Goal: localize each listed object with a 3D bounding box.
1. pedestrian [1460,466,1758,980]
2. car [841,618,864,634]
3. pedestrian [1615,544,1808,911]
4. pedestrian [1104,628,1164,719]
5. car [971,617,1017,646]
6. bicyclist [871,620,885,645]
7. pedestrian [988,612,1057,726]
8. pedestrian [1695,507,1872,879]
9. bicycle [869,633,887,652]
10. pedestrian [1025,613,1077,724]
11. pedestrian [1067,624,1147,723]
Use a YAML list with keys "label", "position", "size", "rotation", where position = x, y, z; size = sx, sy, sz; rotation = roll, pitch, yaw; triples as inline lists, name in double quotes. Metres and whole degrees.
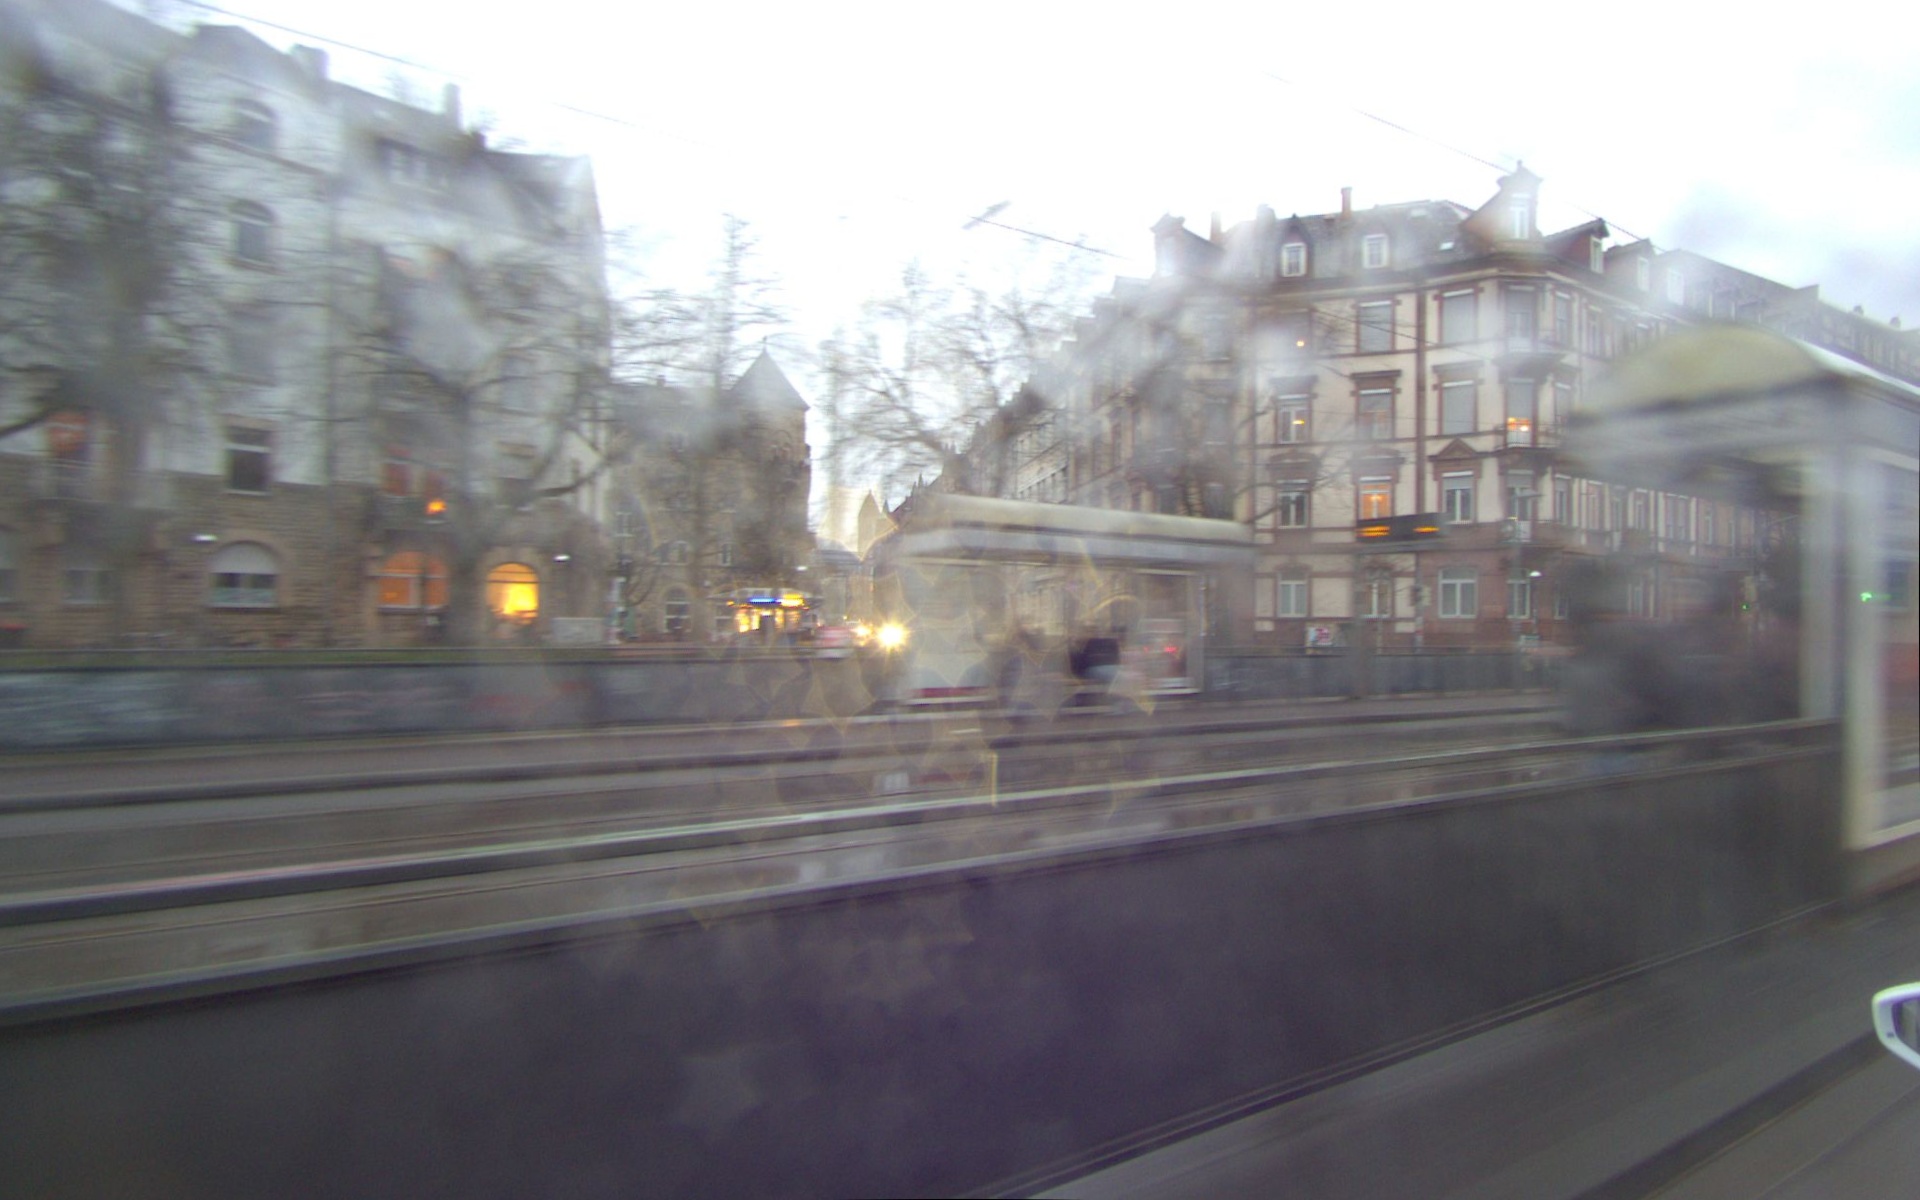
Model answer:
- label: "pedestrian"
  position: [2.786, 0.469, 4.369]
  size: [0.564, 1.982, 0.849]
  rotation: [1, 2, -31]
- label: "car"
  position: [-11.611, 2.800, 108.271]
  size: [1.965, 1.728, 3.991]
  rotation: [1, -2, -12]
- label: "pedestrian"
  position: [3.876, 0.610, 5.193]
  size: [0.564, 1.764, 0.554]
  rotation: [1, 2, -31]
- label: "pedestrian"
  position: [2.486, 1.036, 14.391]
  size: [0.511, 1.235, 0.649]
  rotation: [1, 2, -32]
- label: "car"
  position: [2.065, 1.955, 62.299]
  size: [1.965, 1.728, 3.992]
  rotation: [1, -2, -12]
- label: "bicyclist"
  position: [-4.570, 1.803, 55.858]
  size: [0.523, 1.382, 0.761]
  rotation: [1, -1, -23]
- label: "pedestrian"
  position: [0.812, 0.882, 13.155]
  size: [0.572, 1.422, 0.680]
  rotation: [1, 2, -32]
- label: "pedestrian"
  position: [4.752, 0.503, 5.810]
  size: [0.564, 2.014, 0.554]
  rotation: [1, 2, -31]
- label: "bicycle"
  position: [-4.578, 2.343, 55.806]
  size: [0.485, 1.020, 1.802]
  rotation: [1, -1, -22]
- label: "pedestrian"
  position: [1.209, 0.896, 13.343]
  size: [0.448, 1.422, 0.470]
  rotation: [1, 2, -32]
- label: "pedestrian"
  position: [2.047, 1.003, 14.081]
  size: [0.501, 1.271, 1.050]
  rotation: [1, 2, -31]
